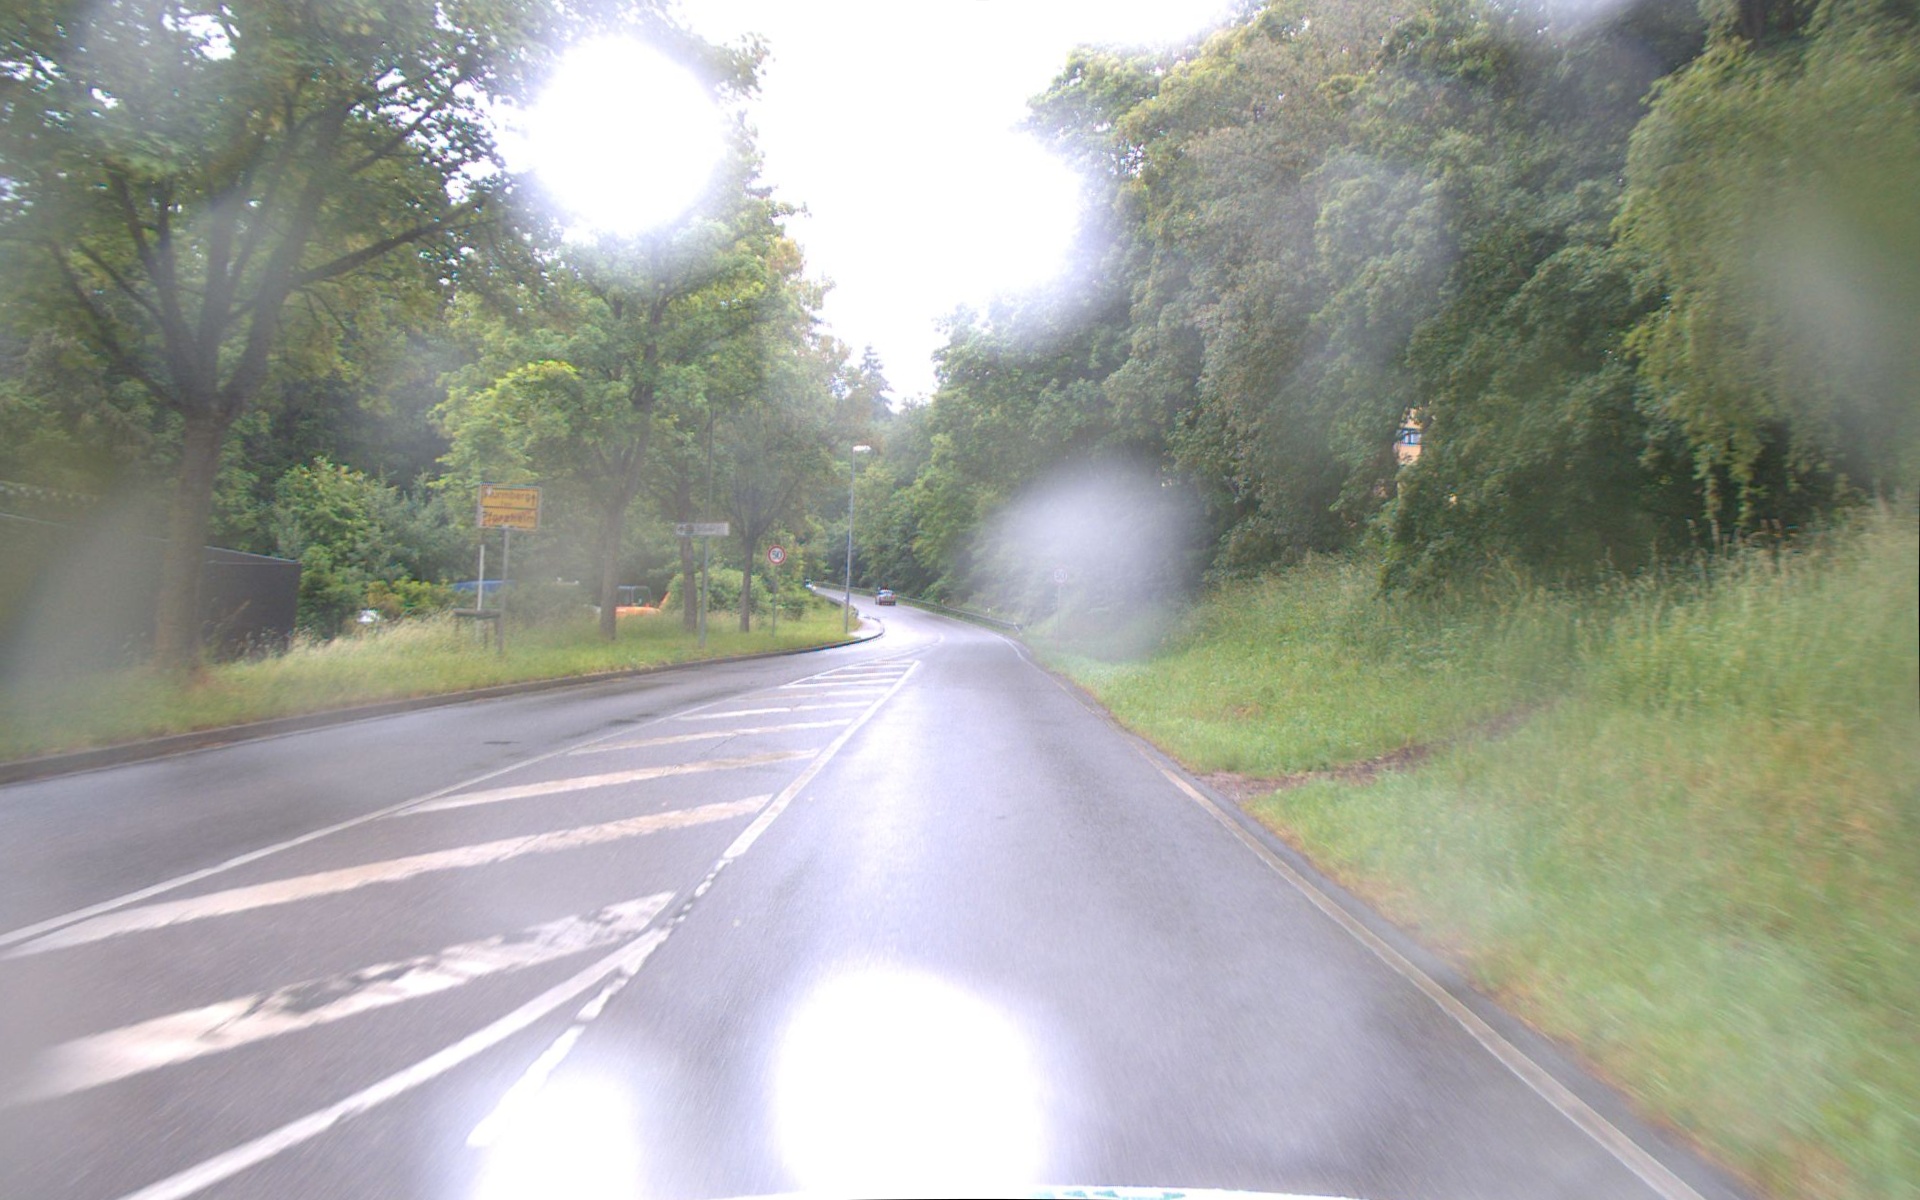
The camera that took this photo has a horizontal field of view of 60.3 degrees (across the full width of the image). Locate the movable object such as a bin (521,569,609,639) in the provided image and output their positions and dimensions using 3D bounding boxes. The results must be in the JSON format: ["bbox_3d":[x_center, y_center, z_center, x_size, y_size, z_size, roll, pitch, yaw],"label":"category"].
[{"bbox_3d":[-17.106,0.199,71.793,1.951,2.911,4.003,2,0,15],"label":"movable object such as a bin"}]

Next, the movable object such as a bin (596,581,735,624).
[{"bbox_3d":[-13.919,0.135,78.748,1.812,1.941,7.891,1,0,30],"label":"movable object such as a bin"}]

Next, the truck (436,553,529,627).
[{"bbox_3d":[-17.376,-0.394,60.456,1.953,2.500,5.221,2,1,-2],"label":"truck"}]

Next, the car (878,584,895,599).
[{"bbox_3d":[-7.600,-0.875,170.524,1.702,1.537,3.999,0,1,-2],"label":"car"}]
